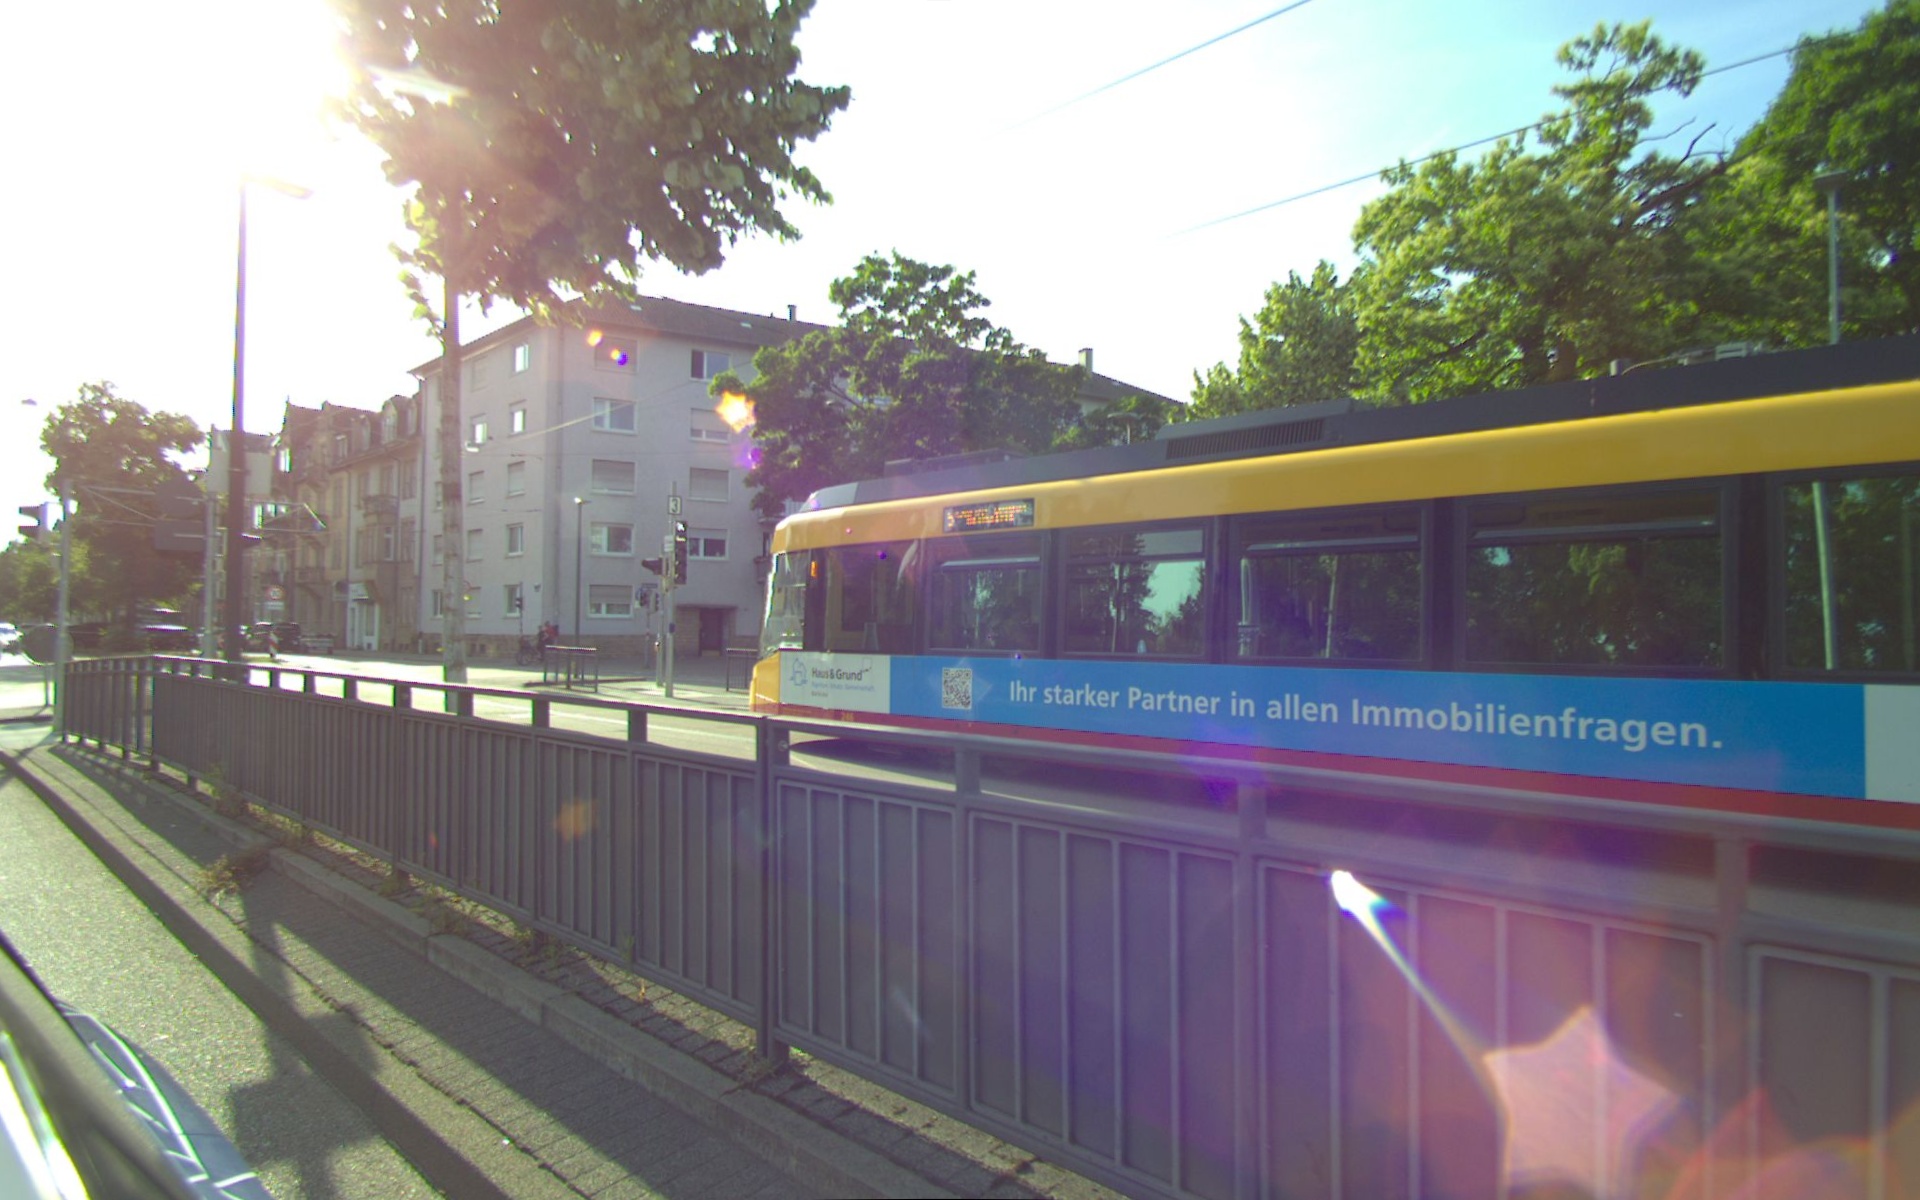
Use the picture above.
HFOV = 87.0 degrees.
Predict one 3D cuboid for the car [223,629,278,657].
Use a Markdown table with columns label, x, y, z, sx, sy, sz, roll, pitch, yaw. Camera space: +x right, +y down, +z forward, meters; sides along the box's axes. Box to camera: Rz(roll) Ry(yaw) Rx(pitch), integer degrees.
| label | x | y | z | sx | sy | sz | roll | pitch | yaw |
| --- | --- | --- | --- | --- | --- | --- | --- | --- | --- |
| car | -46.568 | 2.792 | 66.373 | 4.612 | 1.763 | 2.140 | -2 | -3 | 45 |

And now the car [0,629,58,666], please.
| label | x | y | z | sx | sy | sz | roll | pitch | yaw |
| --- | --- | --- | --- | --- | --- | --- | --- | --- | --- |
| car | -42.158 | 2.111 | 45.750 | 1.970 | 1.586 | 4.004 | 1 | -2 | -43 |

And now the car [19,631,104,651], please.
| label | x | y | z | sx | sy | sz | roll | pitch | yaw |
| --- | --- | --- | --- | --- | --- | --- | --- | --- | --- |
| car | -66.039 | 2.978 | 74.474 | 4.205 | 1.433 | 2.175 | 0 | -2 | -6 |

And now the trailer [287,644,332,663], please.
| label | x | y | z | sx | sy | sz | roll | pitch | yaw |
| --- | --- | --- | --- | --- | --- | --- | --- | --- | --- |
| trailer | -36.988 | 3.008 | 57.556 | 2.879 | 0.903 | 1.425 | -2 | 2 | 43 |

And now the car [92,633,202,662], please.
| label | x | y | z | sx | sy | sz | roll | pitch | yaw |
| --- | --- | --- | --- | --- | --- | --- | --- | --- | --- |
| car | -40.202 | 2.350 | 50.117 | 3.887 | 1.370 | 1.677 | 1 | -3 | -13 |

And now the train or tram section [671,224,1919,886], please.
| label | x | y | z | sx | sy | sz | roll | pitch | yaw |
| --- | --- | --- | --- | --- | --- | --- | --- | --- | --- |
| train or tram section | 2.621 | -0.094 | 9.671 | 14.527 | 3.506 | 3.128 | -2 | -2 | 42 |

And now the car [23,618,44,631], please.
| label | x | y | z | sx | sy | sz | roll | pitch | yaw |
| --- | --- | --- | --- | --- | --- | --- | --- | --- | --- |
| car | -145.978 | 3.867 | 159.460 | 3.999 | 2.029 | 1.972 | -2 | -2 | 42 |

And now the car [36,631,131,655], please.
| label | x | y | z | sx | sy | sz | roll | pitch | yaw |
| --- | --- | --- | --- | --- | --- | --- | --- | --- | --- |
| car | -55.823 | 2.726 | 64.531 | 4.240 | 1.433 | 1.962 | 0 | -2 | -6 |

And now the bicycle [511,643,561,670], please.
| label | x | y | z | sx | sy | sz | roll | pitch | yaw |
| --- | --- | --- | --- | --- | --- | --- | --- | --- | --- |
| bicycle | -18.072 | 2.400 | 43.133 | 1.883 | 1.119 | 0.737 | 2 | -4 | -27 |

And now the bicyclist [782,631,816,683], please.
| label | x | y | z | sx | sy | sz | roll | pitch | yaw |
| --- | --- | --- | --- | --- | --- | --- | --- | --- | --- |
| bicyclist | -4.487 | 1.575 | 28.220 | 0.643 | 1.424 | 0.717 | 1 | -3 | -45 |

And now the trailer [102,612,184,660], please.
| label | x | y | z | sx | sy | sz | roll | pitch | yaw |
| --- | --- | --- | --- | --- | --- | --- | --- | --- | --- |
| trailer | -42.411 | 1.876 | 52.600 | 2.817 | 2.410 | 1.728 | 0 | -2 | -16 |

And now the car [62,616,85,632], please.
| label | x | y | z | sx | sy | sz | roll | pitch | yaw |
| --- | --- | --- | --- | --- | --- | --- | --- | --- | --- |
| car | -112.689 | 3.069 | 128.665 | 1.970 | 2.029 | 4.003 | 1 | -3 | -44 |

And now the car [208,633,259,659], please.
| label | x | y | z | sx | sy | sz | roll | pitch | yaw |
| --- | --- | --- | --- | --- | --- | --- | --- | --- | --- |
| car | -50.267 | 3.161 | 70.021 | 4.612 | 1.763 | 2.140 | -2 | -3 | 45 |

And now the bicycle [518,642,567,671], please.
| label | x | y | z | sx | sy | sz | roll | pitch | yaw |
| --- | --- | --- | --- | --- | --- | --- | --- | --- | --- |
| bicycle | -18.244 | 2.458 | 44.233 | 1.946 | 1.212 | 0.737 | 1 | -2 | -27 |

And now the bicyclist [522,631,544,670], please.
| label | x | y | z | sx | sy | sz | roll | pitch | yaw |
| --- | --- | --- | --- | --- | --- | --- | --- | --- | --- |
| bicyclist | -18.149 | 2.139 | 43.053 | 0.760 | 1.655 | 0.797 | 2 | -3 | -27 |

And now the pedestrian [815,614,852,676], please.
| label | x | y | z | sx | sy | sz | roll | pitch | yaw |
| --- | --- | --- | --- | --- | --- | --- | --- | --- | --- |
| pedestrian | -3.964 | 1.396 | 31.705 | 0.705 | 1.924 | 0.996 | -1 | -2 | 29 |

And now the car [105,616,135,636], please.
| label | x | y | z | sx | sy | sz | roll | pitch | yaw |
| --- | --- | --- | --- | --- | --- | --- | --- | --- | --- |
| car | -89.745 | 2.804 | 108.078 | 4.000 | 2.029 | 1.972 | -2 | -3 | 43 |

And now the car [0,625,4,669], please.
| label | x | y | z | sx | sy | sz | roll | pitch | yaw |
| --- | --- | --- | --- | --- | --- | --- | --- | --- | --- |
| car | -36.541 | 1.725 | 37.182 | 1.970 | 1.586 | 4.004 | 1 | -2 | -43 |

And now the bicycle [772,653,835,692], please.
| label | x | y | z | sx | sy | sz | roll | pitch | yaw |
| --- | --- | --- | --- | --- | --- | --- | --- | --- | --- |
| bicycle | -4.372 | 1.992 | 28.167 | 0.535 | 1.026 | 2.252 | 1 | -3 | -44 |

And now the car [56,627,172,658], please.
| label | x | y | z | sx | sy | sz | roll | pitch | yaw |
| --- | --- | --- | --- | --- | --- | --- | --- | --- | --- |
| car | -48.362 | 2.451 | 57.918 | 4.645 | 1.703 | 2.175 | 1 | -2 | -5 |

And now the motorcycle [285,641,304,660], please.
| label | x | y | z | sx | sy | sz | roll | pitch | yaw |
| --- | --- | --- | --- | --- | --- | --- | --- | --- | --- |
| motorcycle | -38.848 | 2.921 | 59.068 | 0.626 | 1.088 | 1.739 | 0 | -2 | -23 |

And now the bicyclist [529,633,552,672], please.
| label | x | y | z | sx | sy | sz | roll | pitch | yaw |
| --- | --- | --- | --- | --- | --- | --- | --- | --- | --- |
| bicyclist | -18.296 | 2.283 | 44.162 | 0.839 | 1.655 | 0.816 | 1 | -2 | -27 |

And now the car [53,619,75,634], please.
| label | x | y | z | sx | sy | sz | roll | pitch | yaw |
| --- | --- | --- | --- | --- | --- | --- | --- | --- | --- |
| car | -120.984 | 3.614 | 136.648 | 1.970 | 2.029 | 4.003 | 1 | -3 | -44 |

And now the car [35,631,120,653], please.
| label | x | y | z | sx | sy | sz | roll | pitch | yaw |
| --- | --- | --- | --- | --- | --- | --- | --- | --- | --- |
| car | -60.724 | 2.900 | 69.711 | 4.205 | 1.433 | 1.684 | 0 | -2 | -6 |

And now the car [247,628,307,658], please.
| label | x | y | z | sx | sy | sz | roll | pitch | yaw |
| --- | --- | --- | --- | --- | --- | --- | --- | --- | --- |
| car | -41.712 | 2.614 | 61.792 | 4.720 | 1.763 | 2.140 | -2 | -3 | 45 |

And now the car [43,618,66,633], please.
| label | x | y | z | sx | sy | sz | roll | pitch | yaw |
| --- | --- | --- | --- | --- | --- | --- | --- | --- | --- |
| car | -129.925 | 3.685 | 145.180 | 3.999 | 2.029 | 1.972 | -2 | -2 | 42 |
